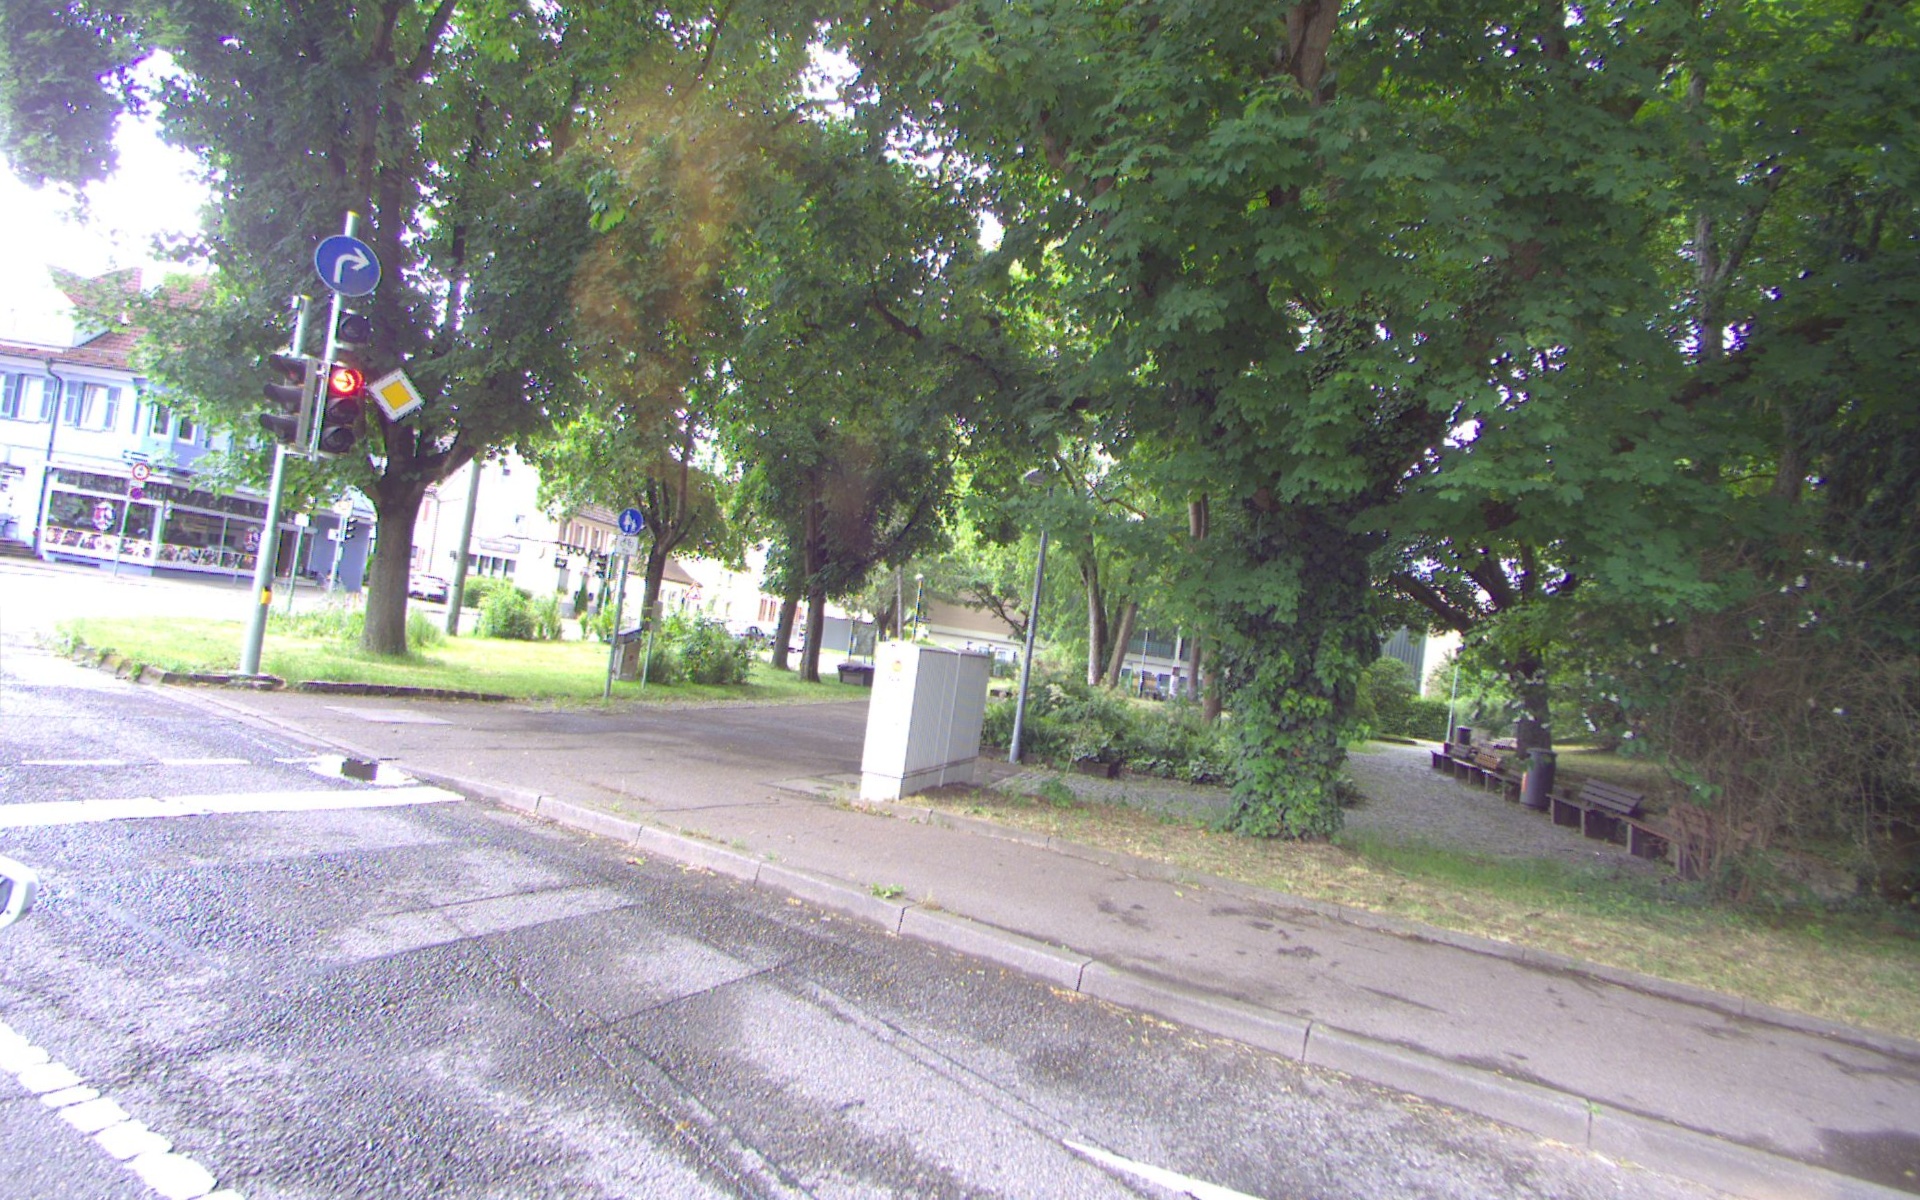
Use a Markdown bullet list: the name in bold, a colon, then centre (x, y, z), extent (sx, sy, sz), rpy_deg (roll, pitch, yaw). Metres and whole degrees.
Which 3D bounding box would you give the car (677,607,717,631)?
- **car**: centre (-19.367, 1.441, 74.252), extent (1.528, 1.436, 4.005), rpy_deg (7, -2, 4)

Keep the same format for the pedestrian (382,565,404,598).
- **pedestrian**: centre (-27.332, -0.892, 48.502), extent (0.451, 1.535, 0.587), rpy_deg (7, -1, 25)

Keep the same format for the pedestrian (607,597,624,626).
- **pedestrian**: centre (-21.325, 0.711, 62.315), extent (0.600, 1.668, 0.610), rpy_deg (7, -1, 3)

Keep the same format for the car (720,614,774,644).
- **car**: centre (-11.564, 1.595, 54.825), extent (1.530, 1.336, 3.514), rpy_deg (7, -2, 9)

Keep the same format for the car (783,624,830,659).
- **car**: centre (-10.052, 2.756, 66.178), extent (1.750, 2.037, 4.005), rpy_deg (7, -2, 7)

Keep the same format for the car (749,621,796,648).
- **car**: centre (-11.163, 2.069, 60.109), extent (1.530, 1.336, 3.514), rpy_deg (7, -2, 8)

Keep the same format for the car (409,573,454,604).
- **car**: centre (-27.866, -0.603, 53.147), extent (1.479, 1.384, 3.166), rpy_deg (8, -2, -19)

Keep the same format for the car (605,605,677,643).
- **car**: centre (-14.005, 1.089, 44.360), extent (1.530, 1.336, 3.514), rpy_deg (7, -2, 9)
